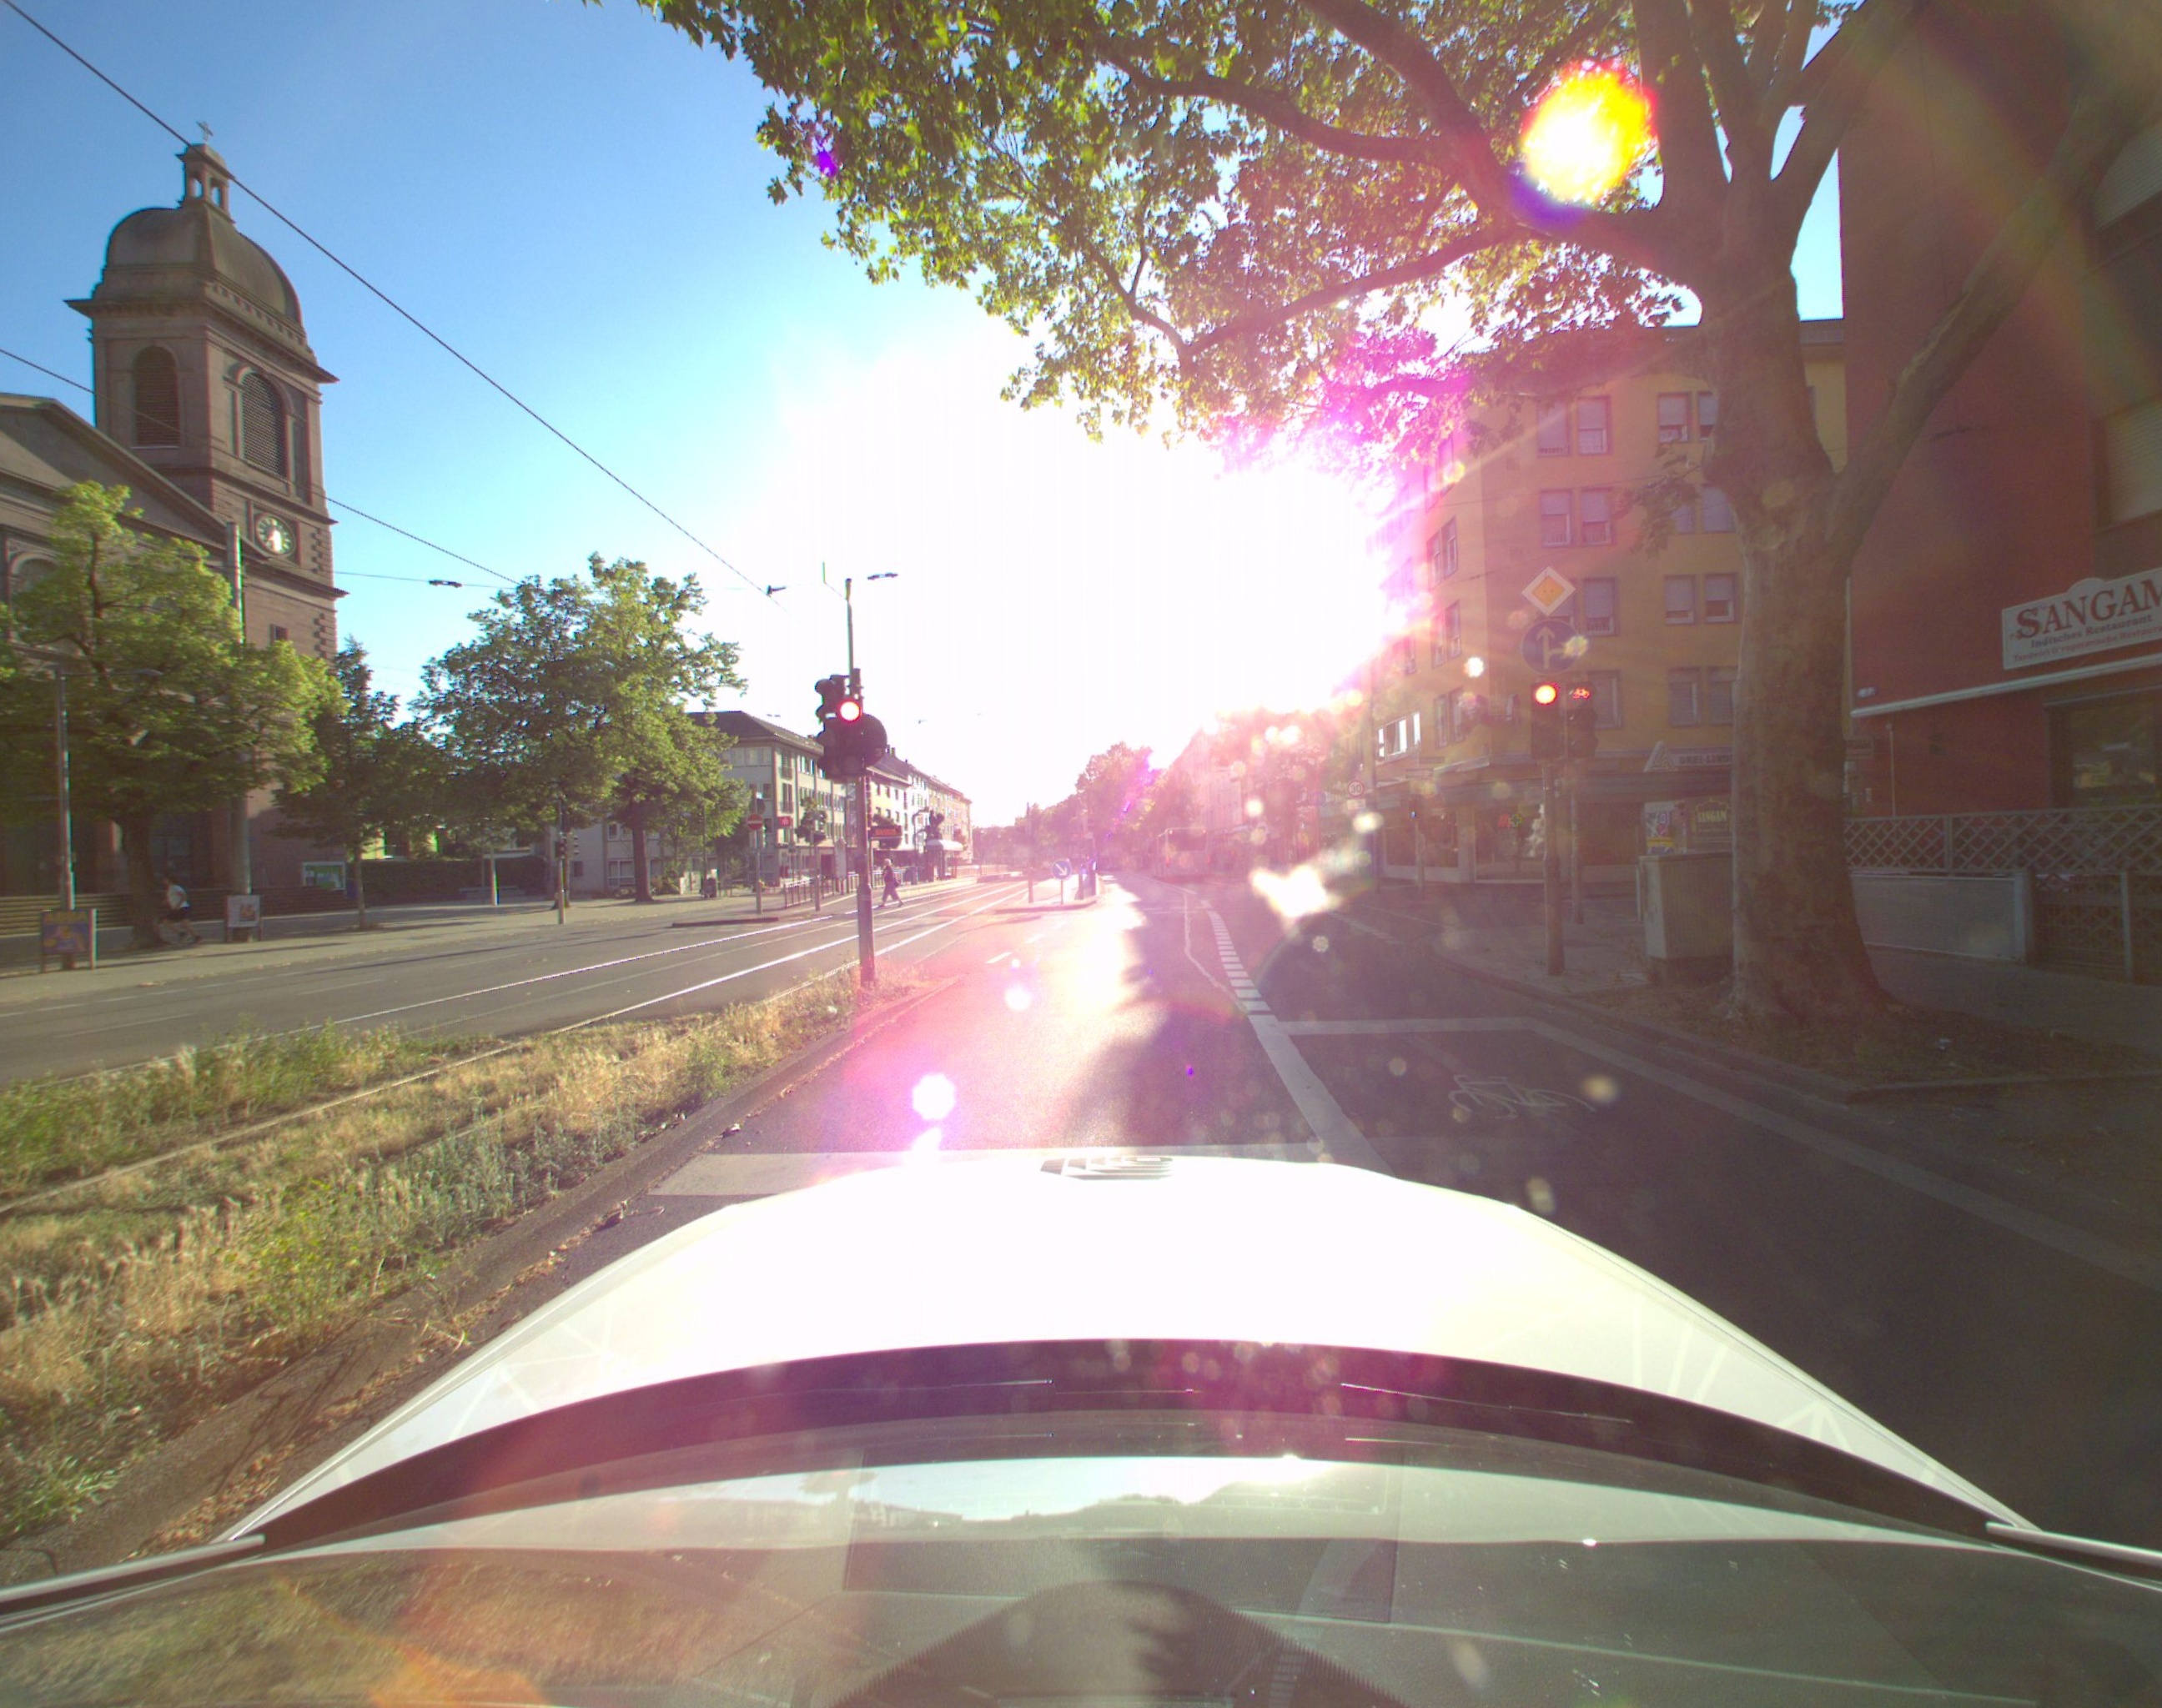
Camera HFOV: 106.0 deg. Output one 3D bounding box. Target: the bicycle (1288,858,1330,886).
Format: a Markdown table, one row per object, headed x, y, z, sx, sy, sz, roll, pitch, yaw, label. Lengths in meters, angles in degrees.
| x | y | z | sx | sy | sz | roll | pitch | yaw | label |
| --- | --- | --- | --- | --- | --- | --- | --- | --- | --- |
| 8.896 | 0.705 | 31.782 | 1.479 | 1.008 | 0.454 | -2 | 0 | -2 | bicycle |

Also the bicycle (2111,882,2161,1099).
| x | y | z | sx | sy | sz | roll | pitch | yaw | label |
| --- | --- | --- | --- | --- | --- | --- | --- | --- | --- |
| 5.667 | 0.753 | 3.645 | 0.613 | 1.111 | 1.812 | -3 | 1 | 28 | bicycle |

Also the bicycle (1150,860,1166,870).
| x | y | z | sx | sy | sz | roll | pitch | yaw | label |
| --- | --- | --- | --- | --- | --- | --- | --- | --- | --- |
| 9.537 | 1.378 | 100.906 | 1.879 | 1.077 | 0.755 | -6 | -1 | 4 | bicycle |

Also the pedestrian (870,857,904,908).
| x | y | z | sx | sy | sz | roll | pitch | yaw | label |
| --- | --- | --- | --- | --- | --- | --- | --- | --- | --- |
| -6.948 | 0.998 | 29.195 | 0.915 | 1.760 | 0.833 | -2 | -1 | 2 | pedestrian |

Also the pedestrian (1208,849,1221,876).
| x | y | z | sx | sy | sz | roll | pitch | yaw | label |
| --- | --- | --- | --- | --- | --- | --- | --- | --- | --- |
| 9.088 | 0.604 | 55.349 | 0.721 | 1.807 | 0.766 | -2 | -1 | 1 | pedestrian |

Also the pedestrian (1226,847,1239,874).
| x | y | z | sx | sy | sz | roll | pitch | yaw | label |
| --- | --- | --- | --- | --- | --- | --- | --- | --- | --- |
| 10.364 | 0.451 | 55.819 | 0.721 | 1.779 | 0.766 | -2 | -1 | 1 | pedestrian |

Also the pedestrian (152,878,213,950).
| x | y | z | sx | sy | sz | roll | pitch | yaw | label |
| --- | --- | --- | --- | --- | --- | --- | --- | --- | --- |
| -22.890 | 1.505 | 20.764 | 0.734 | 1.765 | 0.692 | -2 | 0 | 1 | pedestrian |

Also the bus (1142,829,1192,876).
| x | y | z | sx | sy | sz | roll | pitch | yaw | label |
| --- | --- | --- | --- | --- | --- | --- | --- | --- | --- |
| 6.147 | -0.046 | 59.395 | 2.687 | 3.118 | 9.070 | -1 | 0 | 1 | bus |

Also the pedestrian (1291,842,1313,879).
| x | y | z | sx | sy | sz | roll | pitch | yaw | label |
| --- | --- | --- | --- | --- | --- | --- | --- | --- | --- |
| 10.990 | 0.330 | 40.580 | 0.741 | 1.780 | 0.895 | -4 | -1 | 1 | pedestrian |

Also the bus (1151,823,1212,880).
| x | y | z | sx | sy | sz | roll | pitch | yaw | label |
| --- | --- | --- | --- | --- | --- | --- | --- | --- | --- |
| 6.030 | -0.108 | 50.228 | 2.687 | 3.118 | 9.381 | -1 | 0 | 1 | bus |

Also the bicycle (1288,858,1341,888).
| x | y | z | sx | sy | sz | roll | pitch | yaw | label |
| --- | --- | --- | --- | --- | --- | --- | --- | --- | --- |
| 8.911 | 0.705 | 31.134 | 1.793 | 1.008 | 0.540 | -4 | -1 | -3 | bicycle |

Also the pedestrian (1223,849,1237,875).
| x | y | z | sx | sy | sz | roll | pitch | yaw | label |
| --- | --- | --- | --- | --- | --- | --- | --- | --- | --- |
| 9.853 | 0.540 | 53.989 | 0.721 | 1.723 | 0.766 | -2 | -1 | 1 | pedestrian |
